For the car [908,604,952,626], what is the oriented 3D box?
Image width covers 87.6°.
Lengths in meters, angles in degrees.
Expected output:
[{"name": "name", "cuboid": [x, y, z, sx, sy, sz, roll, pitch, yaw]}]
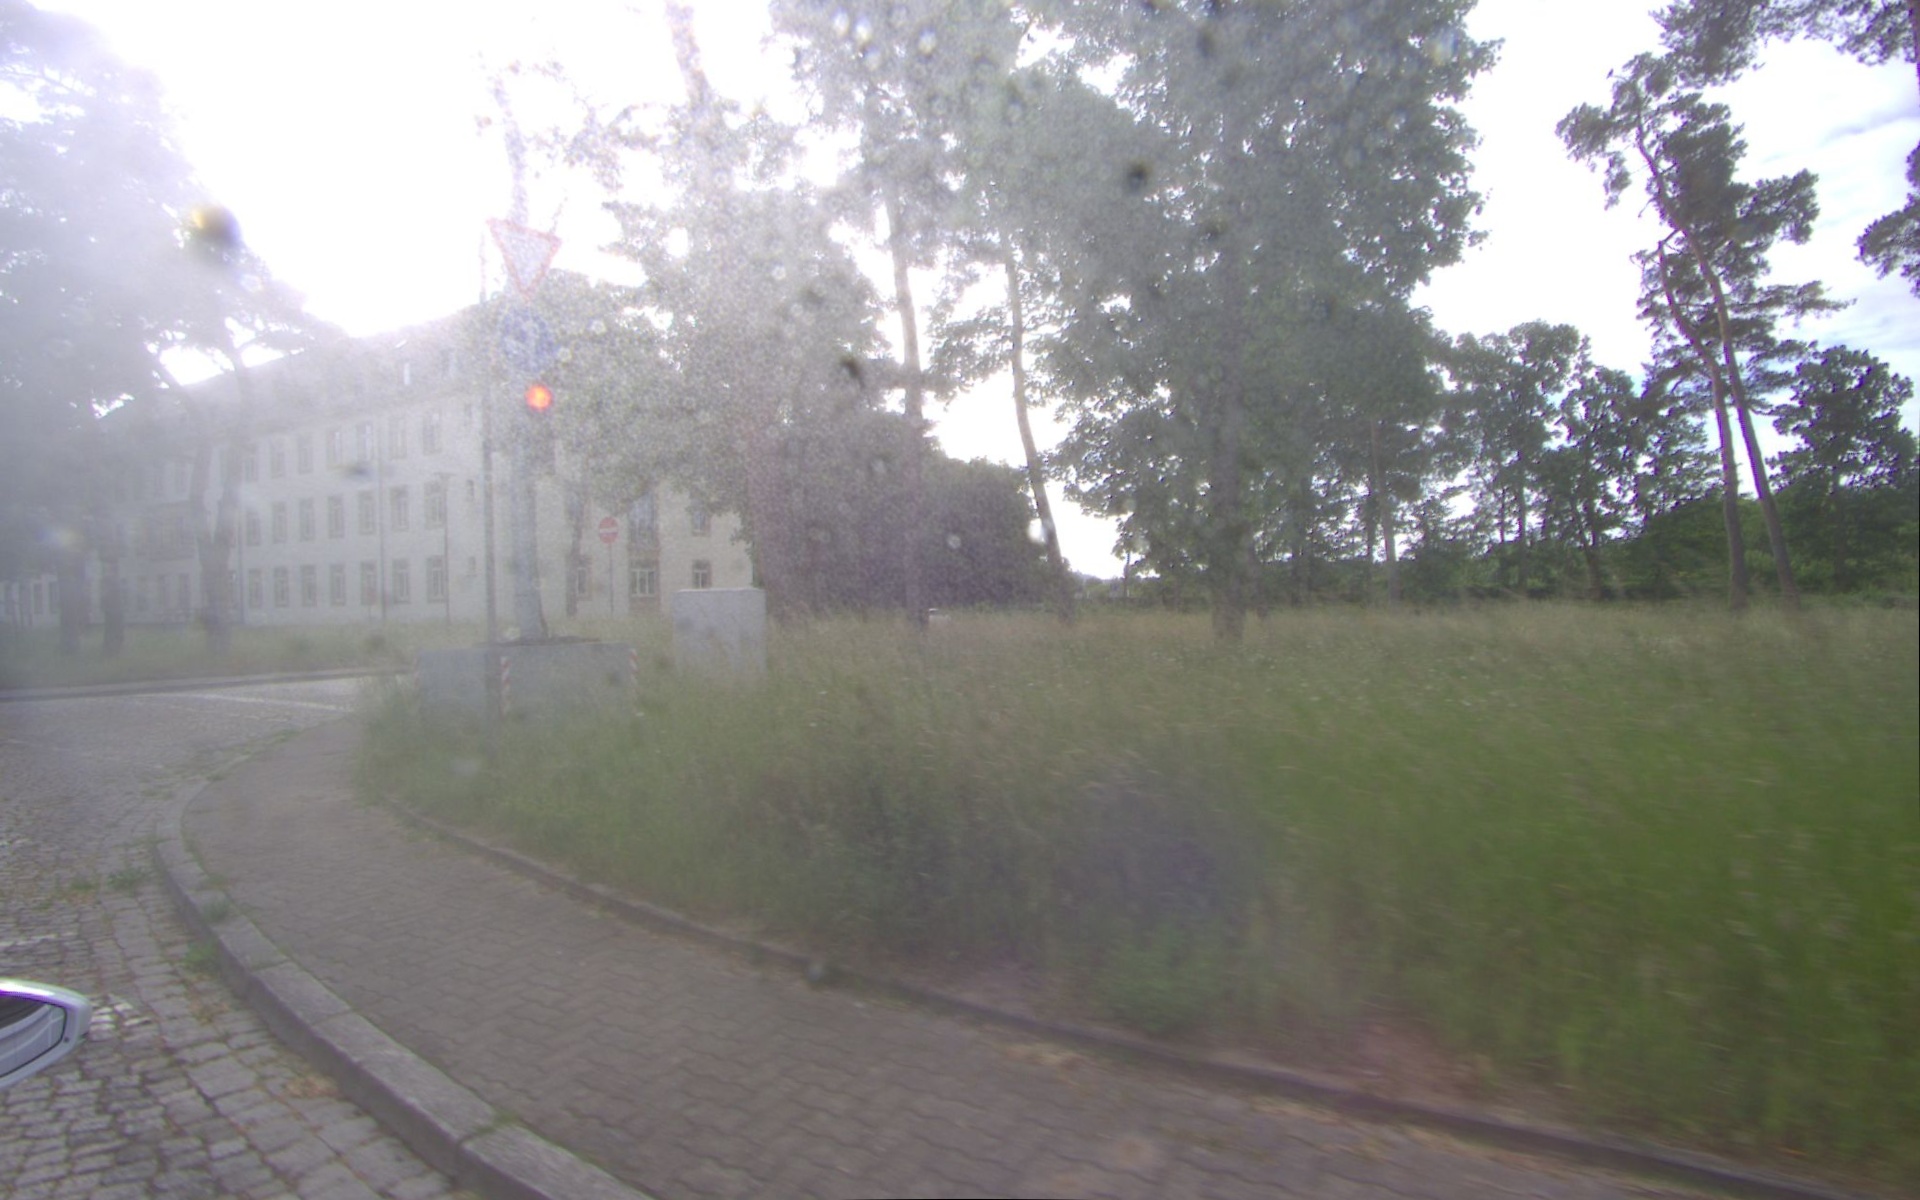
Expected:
[{"name": "car", "cuboid": [-2.008, 1.008, 67.099, 1.467, 1.455, 3.179, -1, -1, 32]}]
